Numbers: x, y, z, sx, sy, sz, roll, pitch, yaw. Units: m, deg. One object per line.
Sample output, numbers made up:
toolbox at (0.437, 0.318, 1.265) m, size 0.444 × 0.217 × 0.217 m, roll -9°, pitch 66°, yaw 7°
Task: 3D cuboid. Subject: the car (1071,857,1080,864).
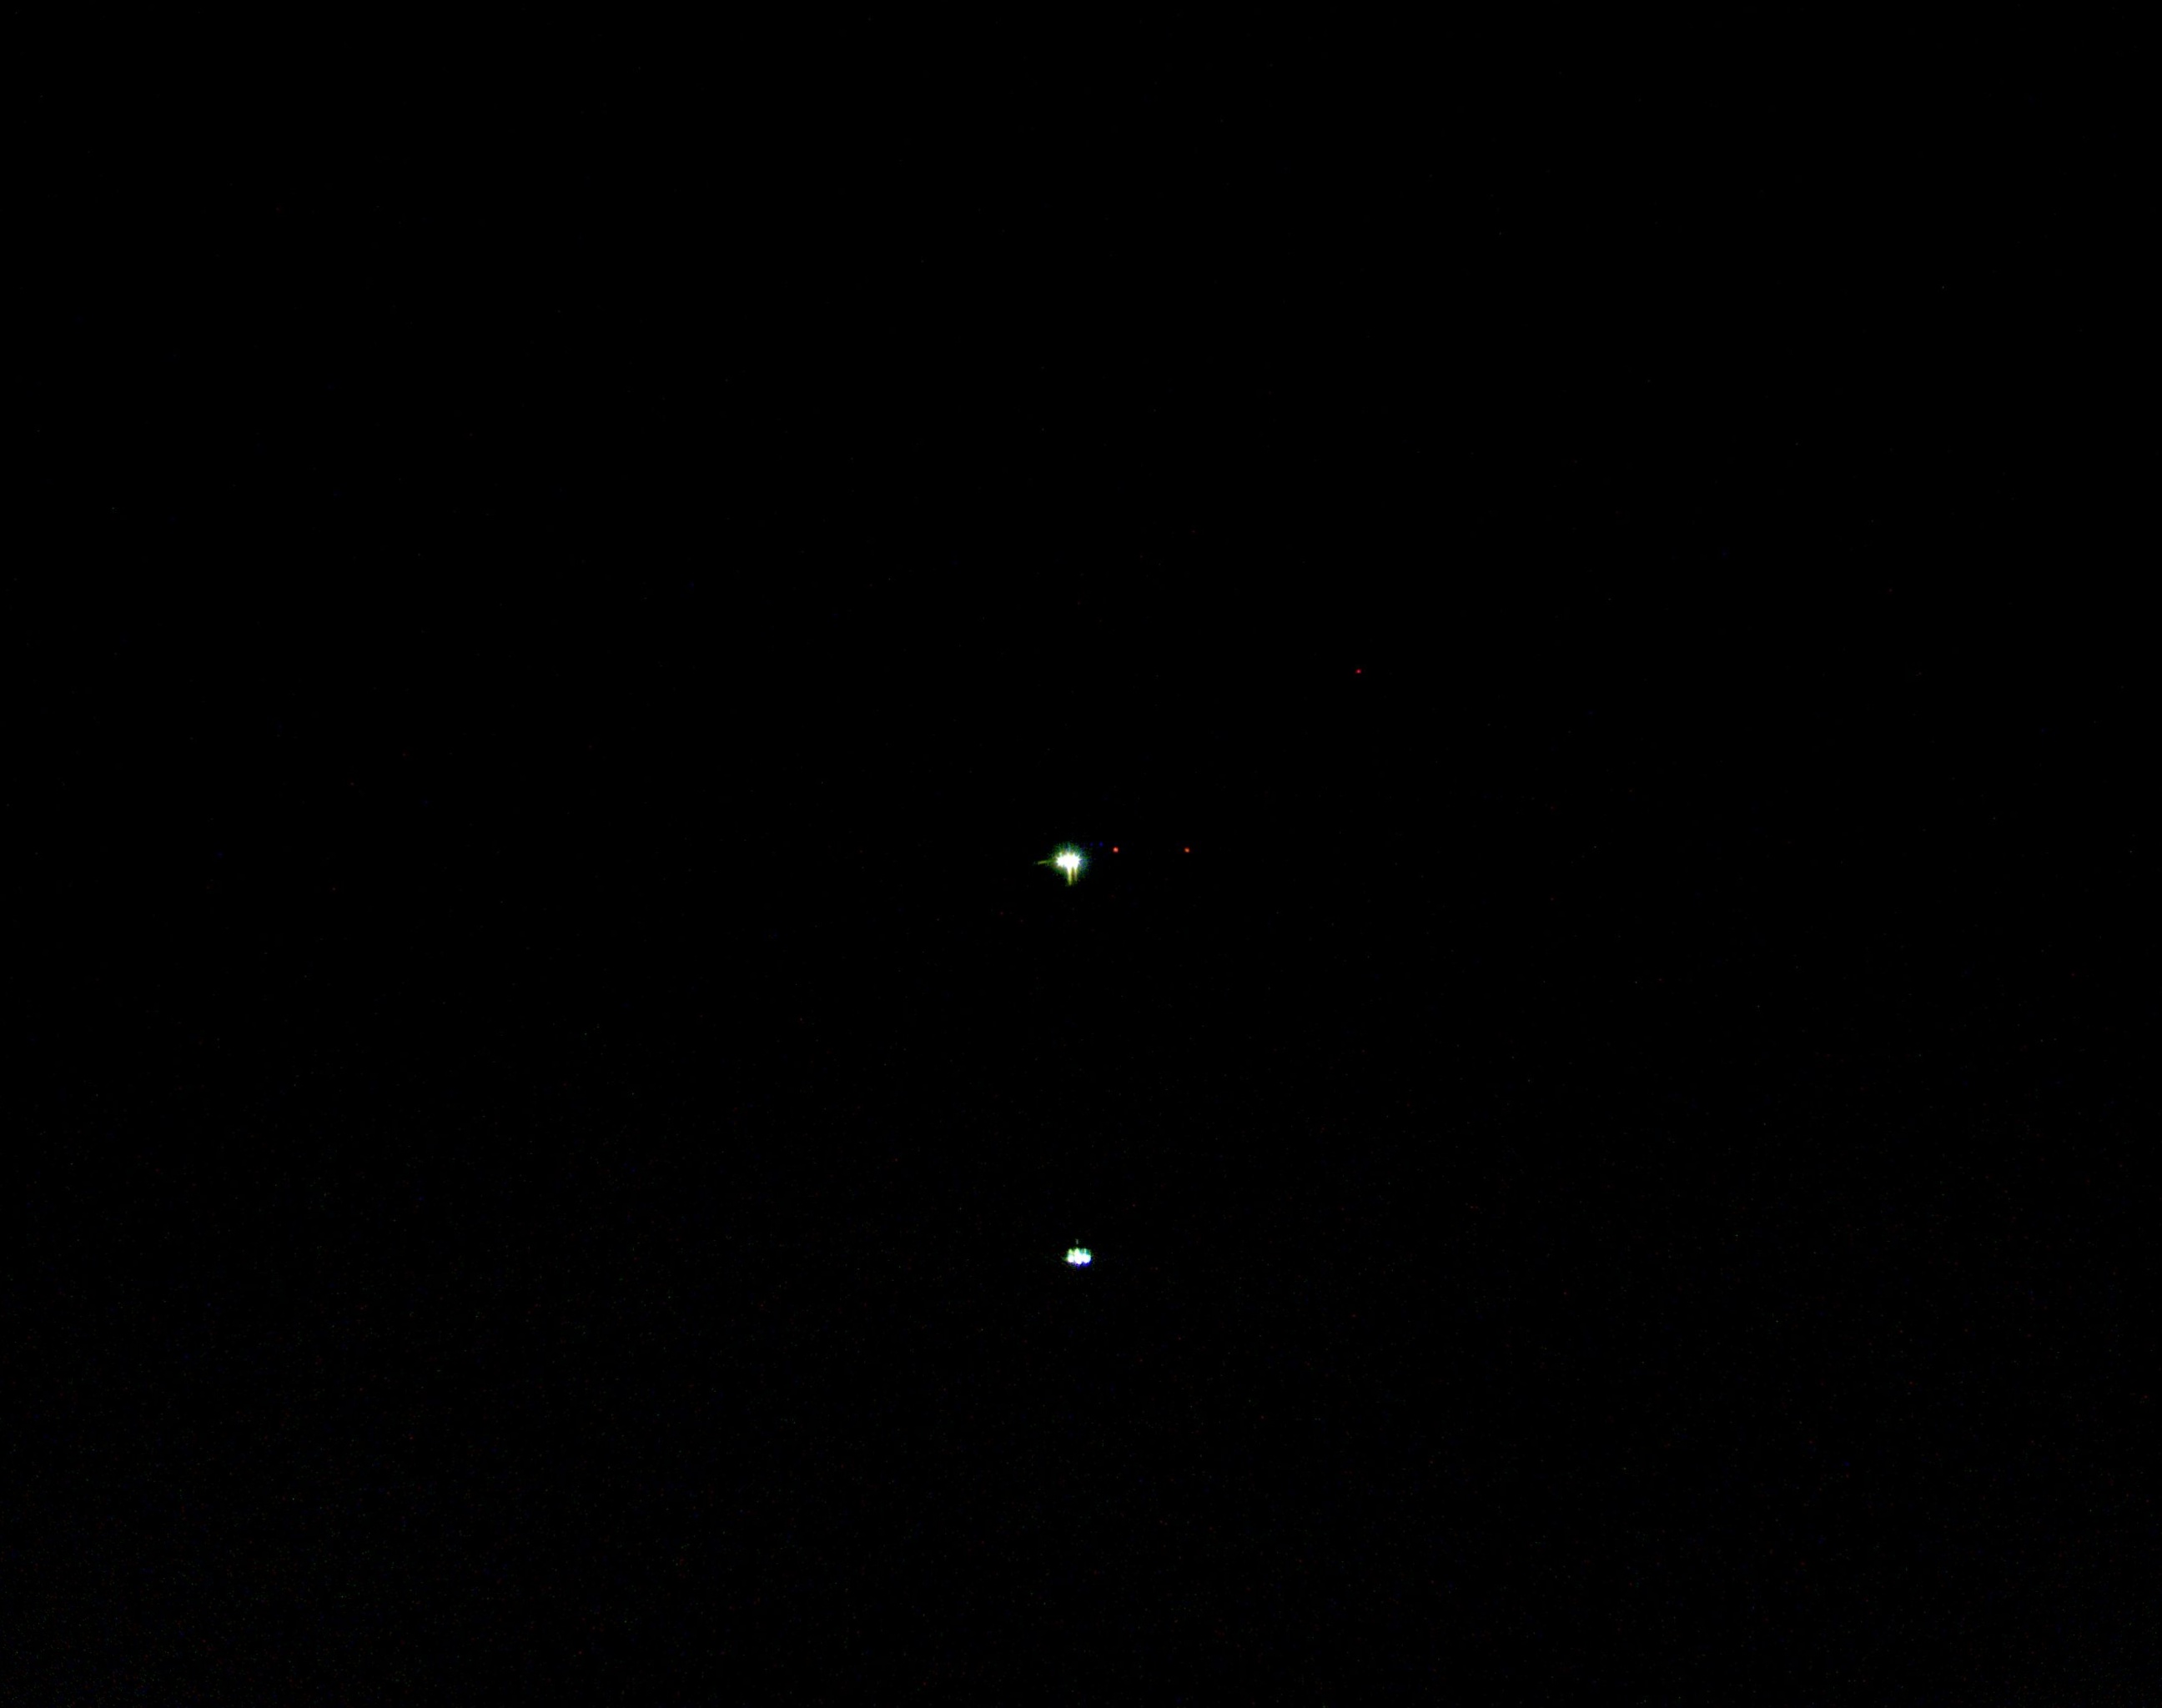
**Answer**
car at (-1.352, 1.553, 183.381) m, size 1.846 × 1.474 × 4.293 m, roll -3°, pitch -1°, yaw -1°
